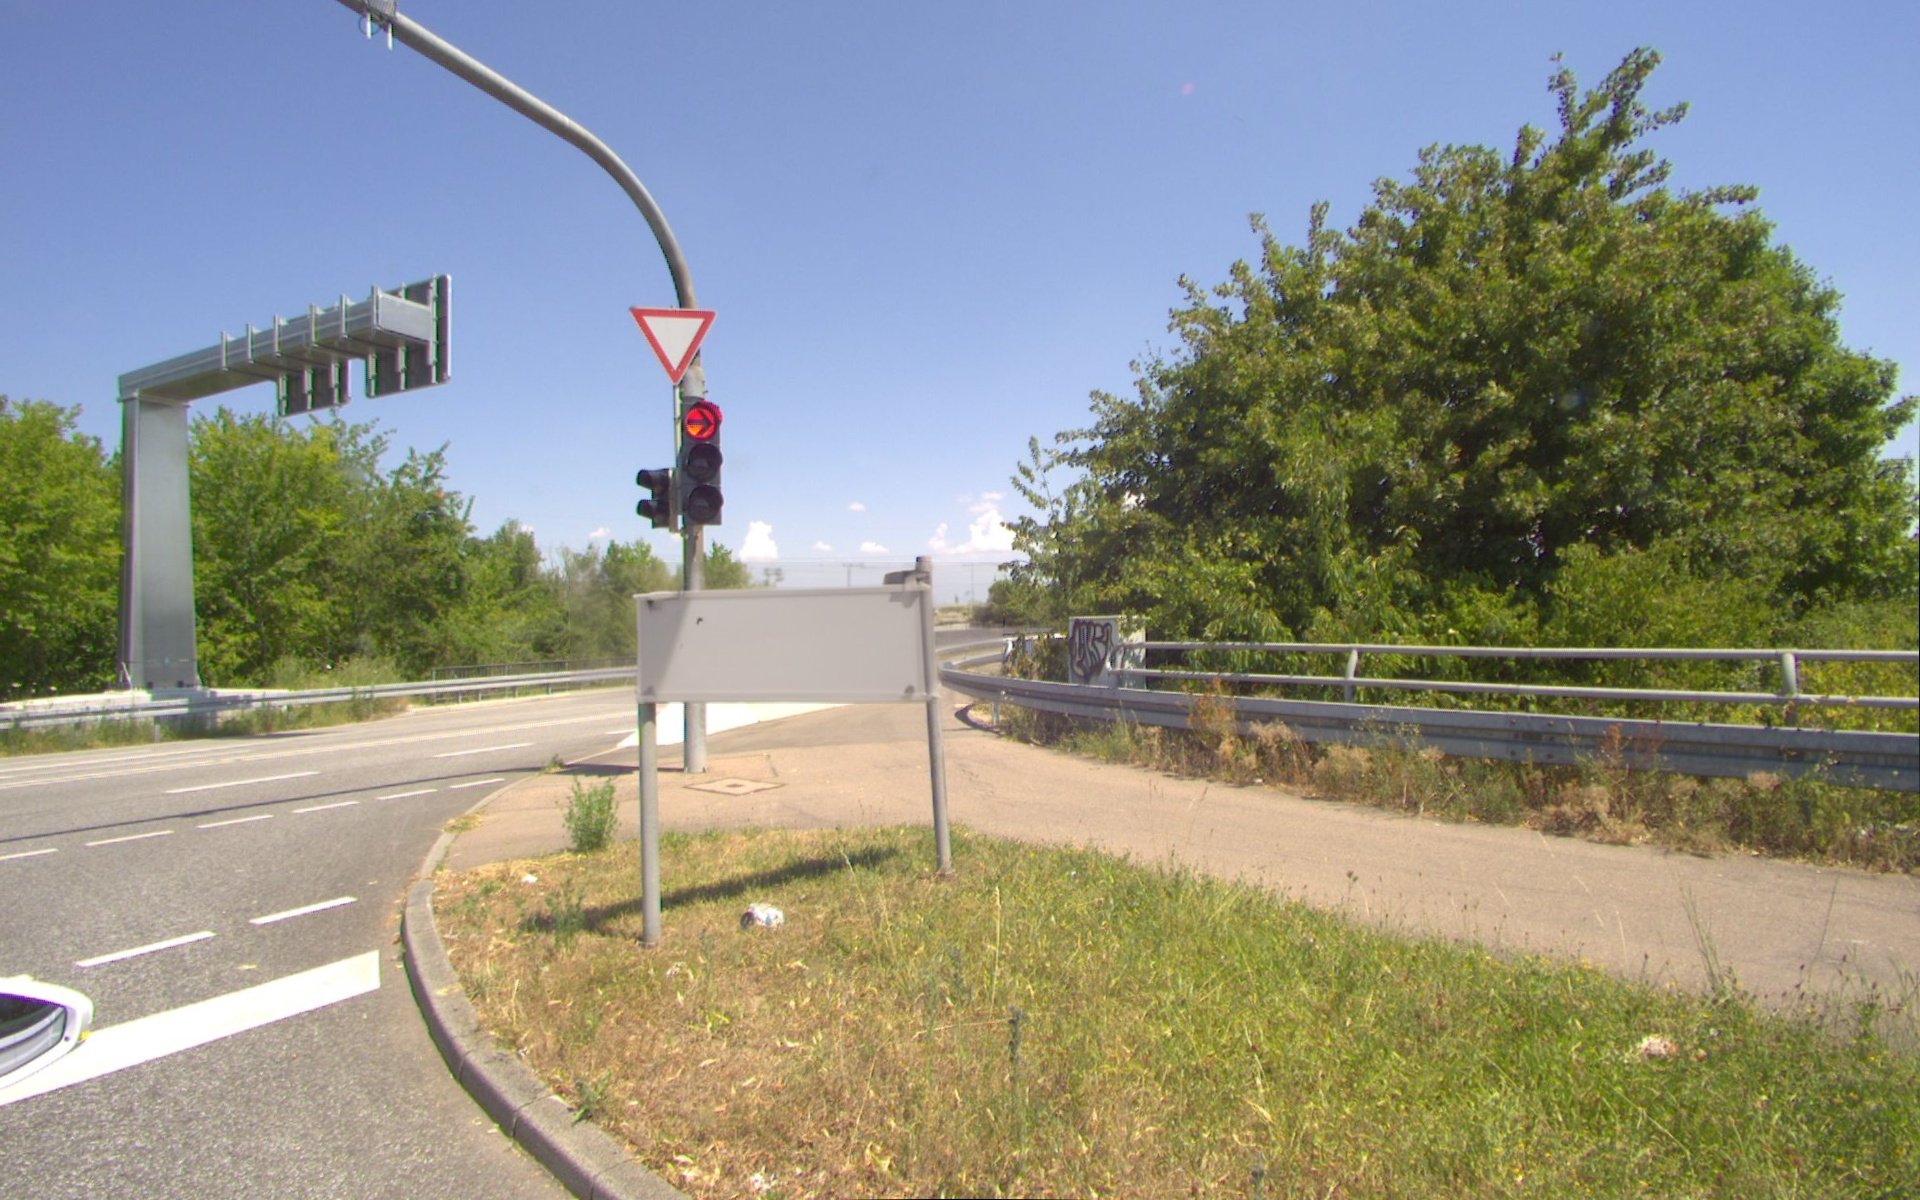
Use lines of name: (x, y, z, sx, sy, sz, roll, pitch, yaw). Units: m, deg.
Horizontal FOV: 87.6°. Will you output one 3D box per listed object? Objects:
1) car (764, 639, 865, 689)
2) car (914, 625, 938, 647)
car: (-4.573, 2.005, 32.111, 1.618, 1.412, 3.987, -5, -4, 17)
car: (-2.763, 2.949, 81.551, 1.868, 1.652, 4.278, -2, -2, -2)
